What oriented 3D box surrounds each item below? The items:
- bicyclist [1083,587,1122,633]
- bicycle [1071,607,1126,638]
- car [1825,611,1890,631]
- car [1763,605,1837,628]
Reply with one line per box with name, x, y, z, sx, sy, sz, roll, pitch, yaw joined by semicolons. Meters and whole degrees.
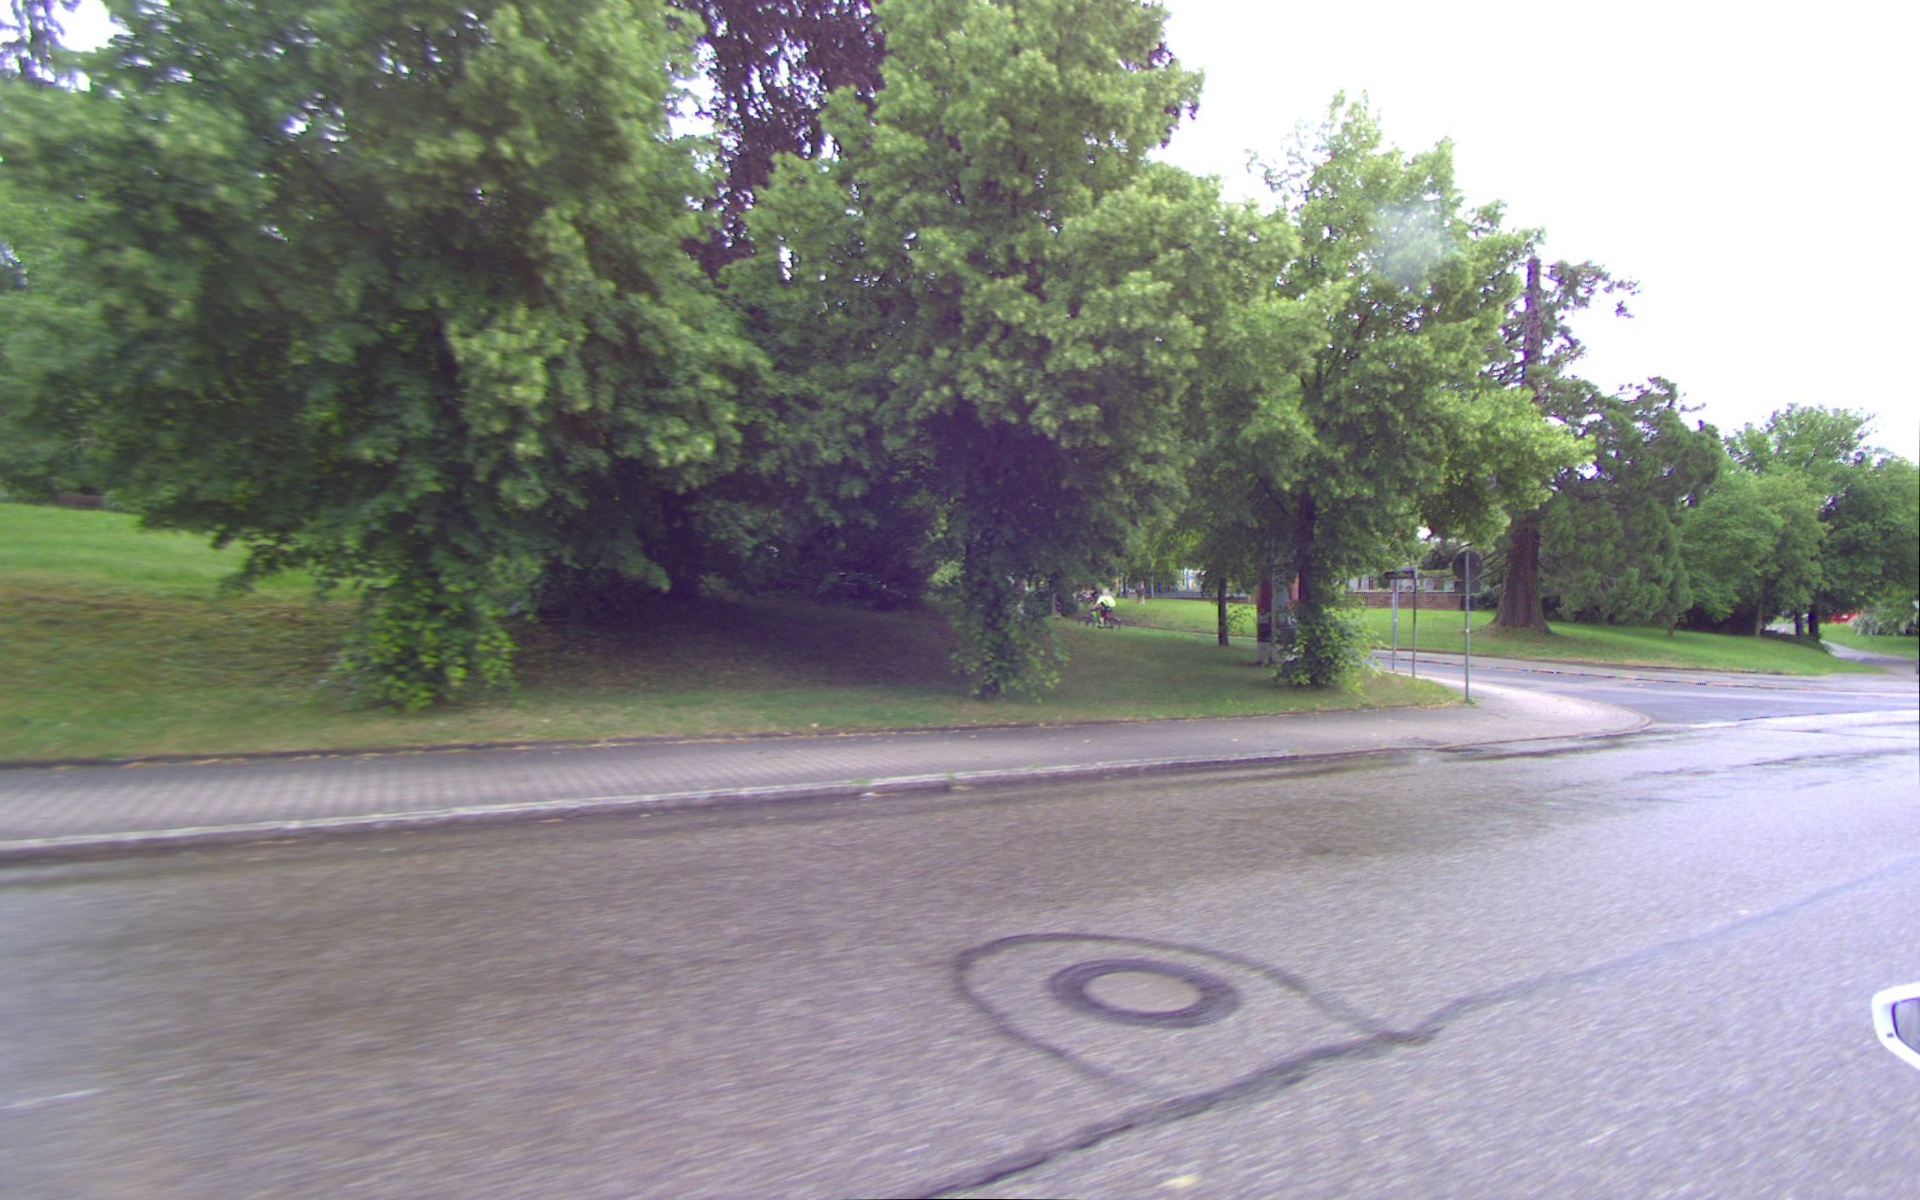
bicyclist;5.751;0.400;40.420;1.264;1.778;0.852;0;-3;35
bicycle;5.570;0.915;40.507;2.004;1.170;0.852;0;-3;35
car;72.656;1.671;81.380;3.852;1.505;1.925;0;-2;42
car;57.674;1.113;69.020;3.852;1.505;1.925;0;-2;42
